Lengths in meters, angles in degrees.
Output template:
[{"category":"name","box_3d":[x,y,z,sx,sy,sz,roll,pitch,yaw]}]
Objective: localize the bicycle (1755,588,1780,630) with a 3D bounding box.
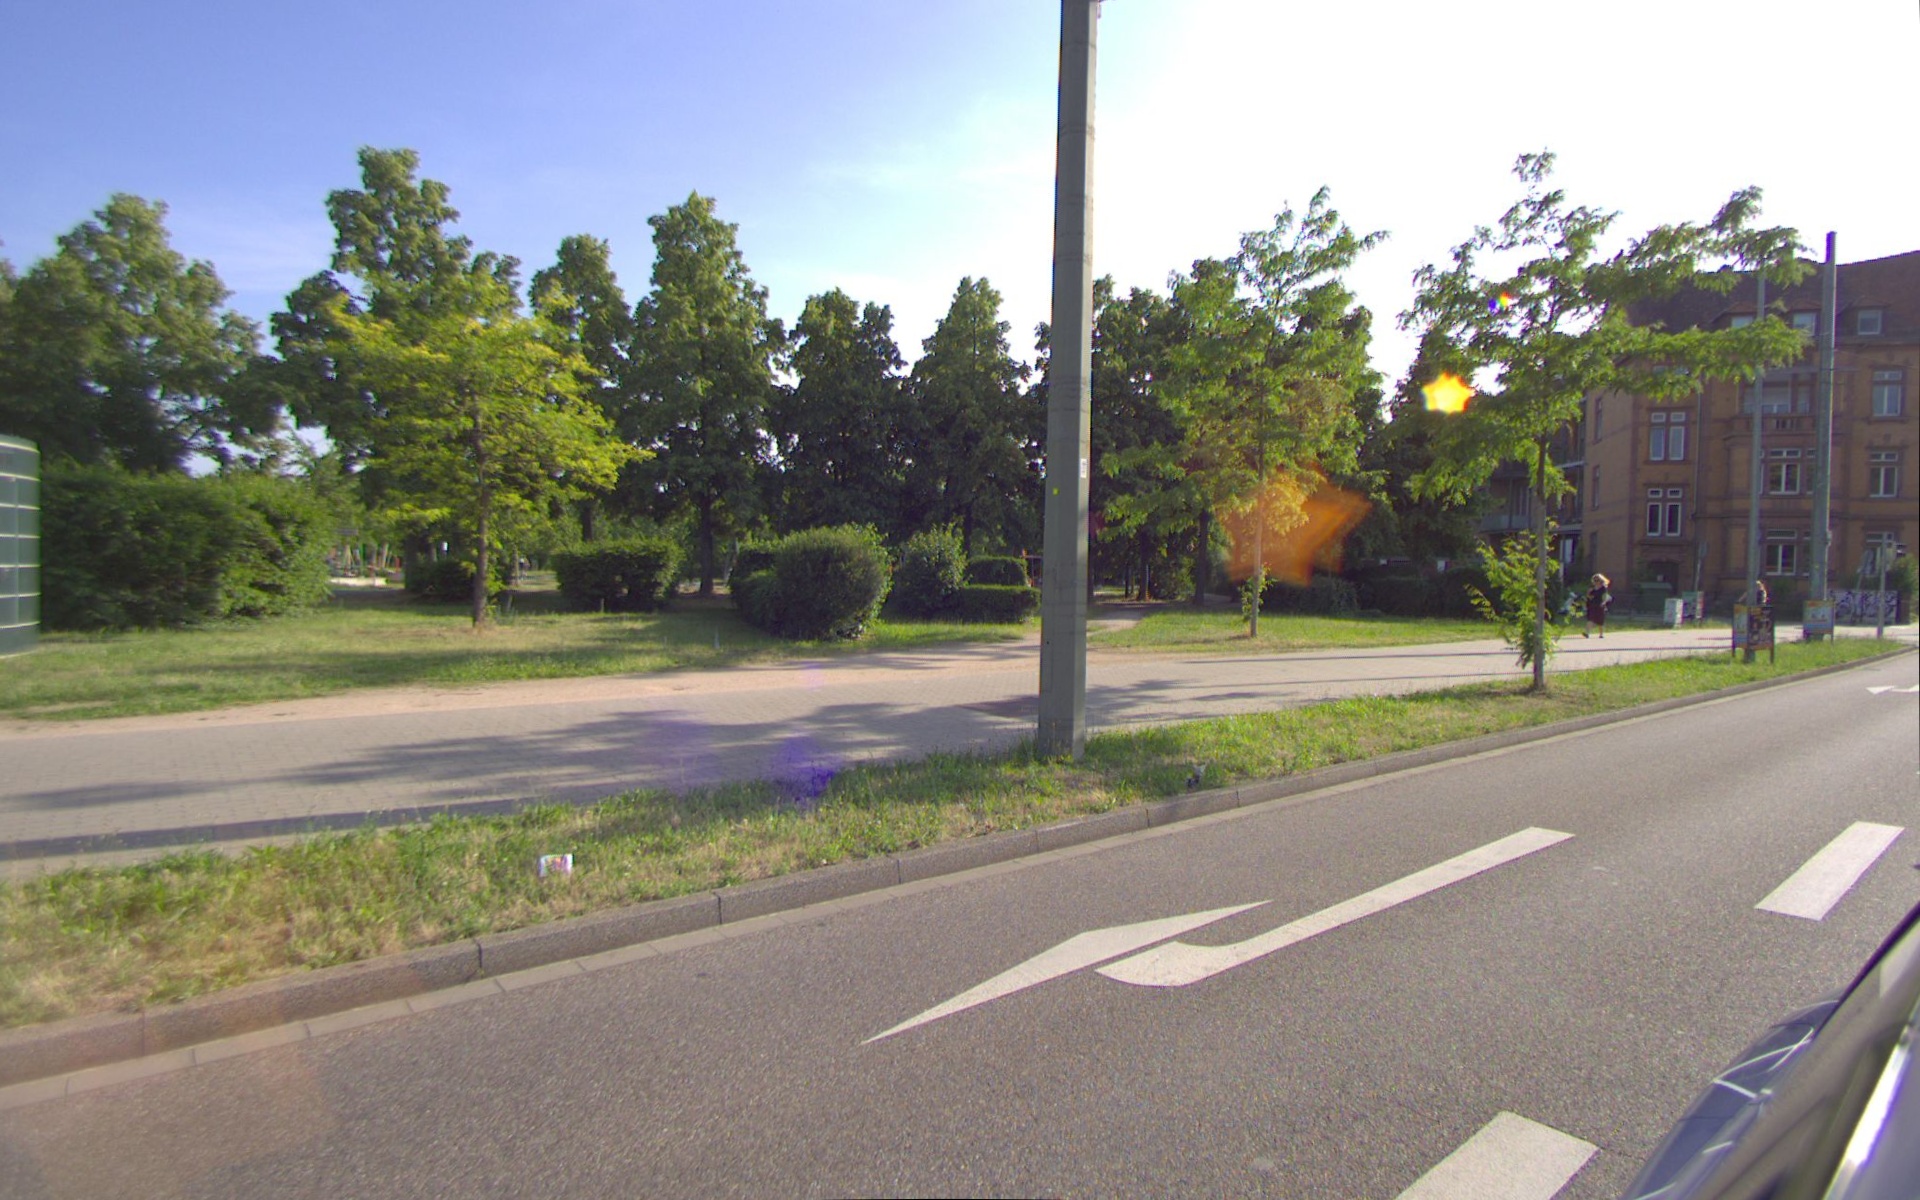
[{"category":"bicycle","box_3d":[23.585,0.245,29.552,0.483,1.205,1.319,1,1,41]}]

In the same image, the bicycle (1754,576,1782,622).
[{"category":"bicycle","box_3d":[23.566,-0.043,29.519,0.573,1.314,0.678,1,1,42]}]

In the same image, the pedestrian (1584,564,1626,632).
[{"category":"pedestrian","box_3d":[16.968,-0.055,26.636,0.538,1.711,0.617,0,6,-36]}]

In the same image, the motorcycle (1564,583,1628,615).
[{"category":"motorcycle","box_3d":[24.667,-0.056,39.278,0.696,1.174,1.997,0,1,-45]}]
